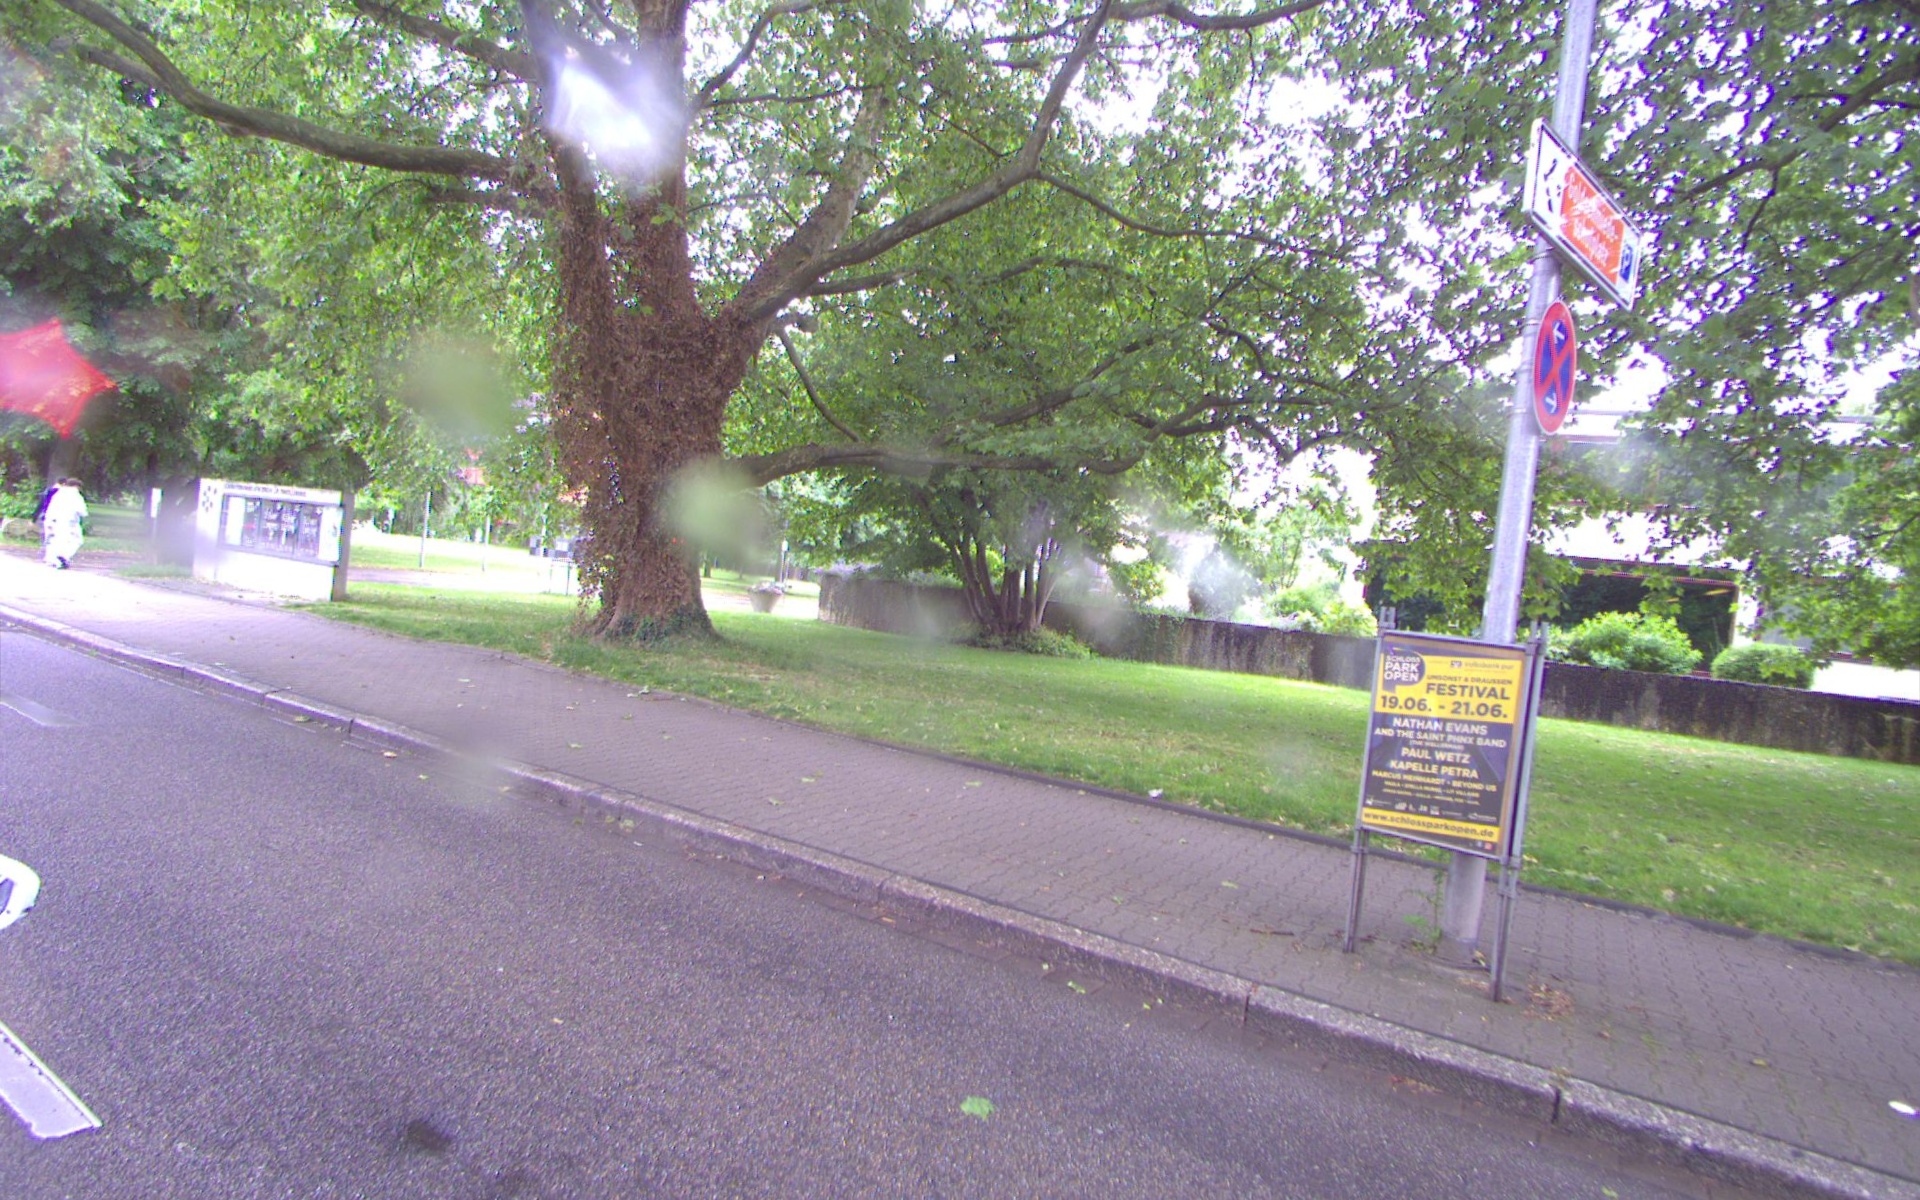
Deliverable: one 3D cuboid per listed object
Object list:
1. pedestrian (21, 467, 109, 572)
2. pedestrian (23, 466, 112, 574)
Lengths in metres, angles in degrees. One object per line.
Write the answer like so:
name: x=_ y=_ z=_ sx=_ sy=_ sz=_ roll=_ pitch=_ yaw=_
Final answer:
pedestrian: x=-17.412 y=-1.543 z=19.586 sx=0.646 sy=1.902 sz=1.037 roll=7 pitch=3 yaw=21
pedestrian: x=-16.881 y=-1.493 z=19.042 sx=0.646 sy=1.902 sz=1.037 roll=7 pitch=3 yaw=21
